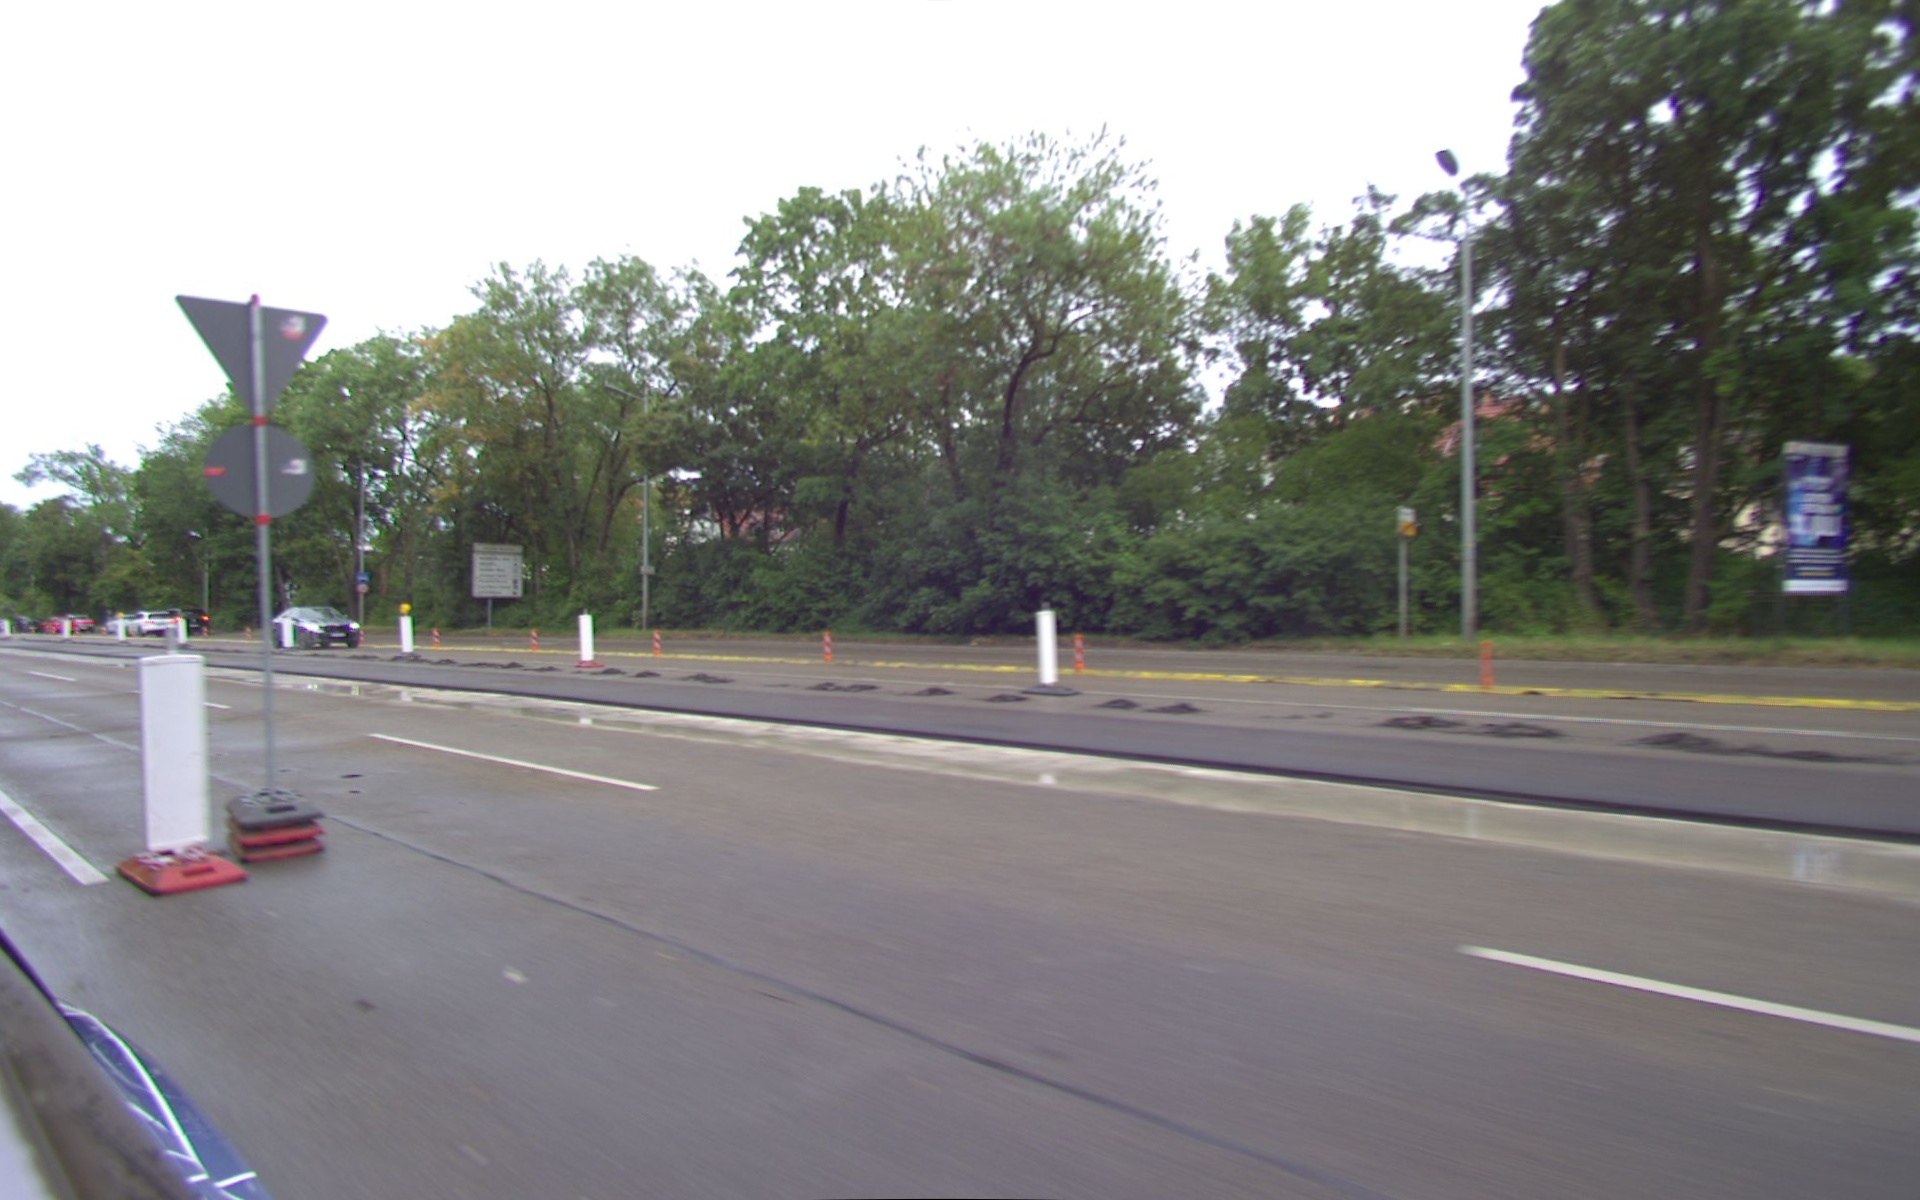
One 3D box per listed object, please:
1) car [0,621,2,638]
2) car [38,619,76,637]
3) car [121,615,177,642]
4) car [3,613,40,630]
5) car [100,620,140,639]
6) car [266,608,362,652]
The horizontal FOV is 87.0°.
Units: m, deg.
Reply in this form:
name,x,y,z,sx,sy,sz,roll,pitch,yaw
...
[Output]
name,x,y,z,sx,sy,sz,roll,pitch,yaw
car,-97.727,2.978,101.338,5.007,1.738,2.002,-1,0,39
car,-72.829,2.263,81.645,4.008,1.411,1.663,-1,0,39
car,-53.934,1.875,67.254,4.887,1.674,1.872,-1,0,39
car,-83.443,1.913,89.971,4.191,1.499,1.759,-1,0,38
car,-67.086,2.340,80.805,4.144,1.508,1.662,-1,-2,39
car,-26.088,1.164,40.817,4.808,1.641,1.973,-1,0,40
